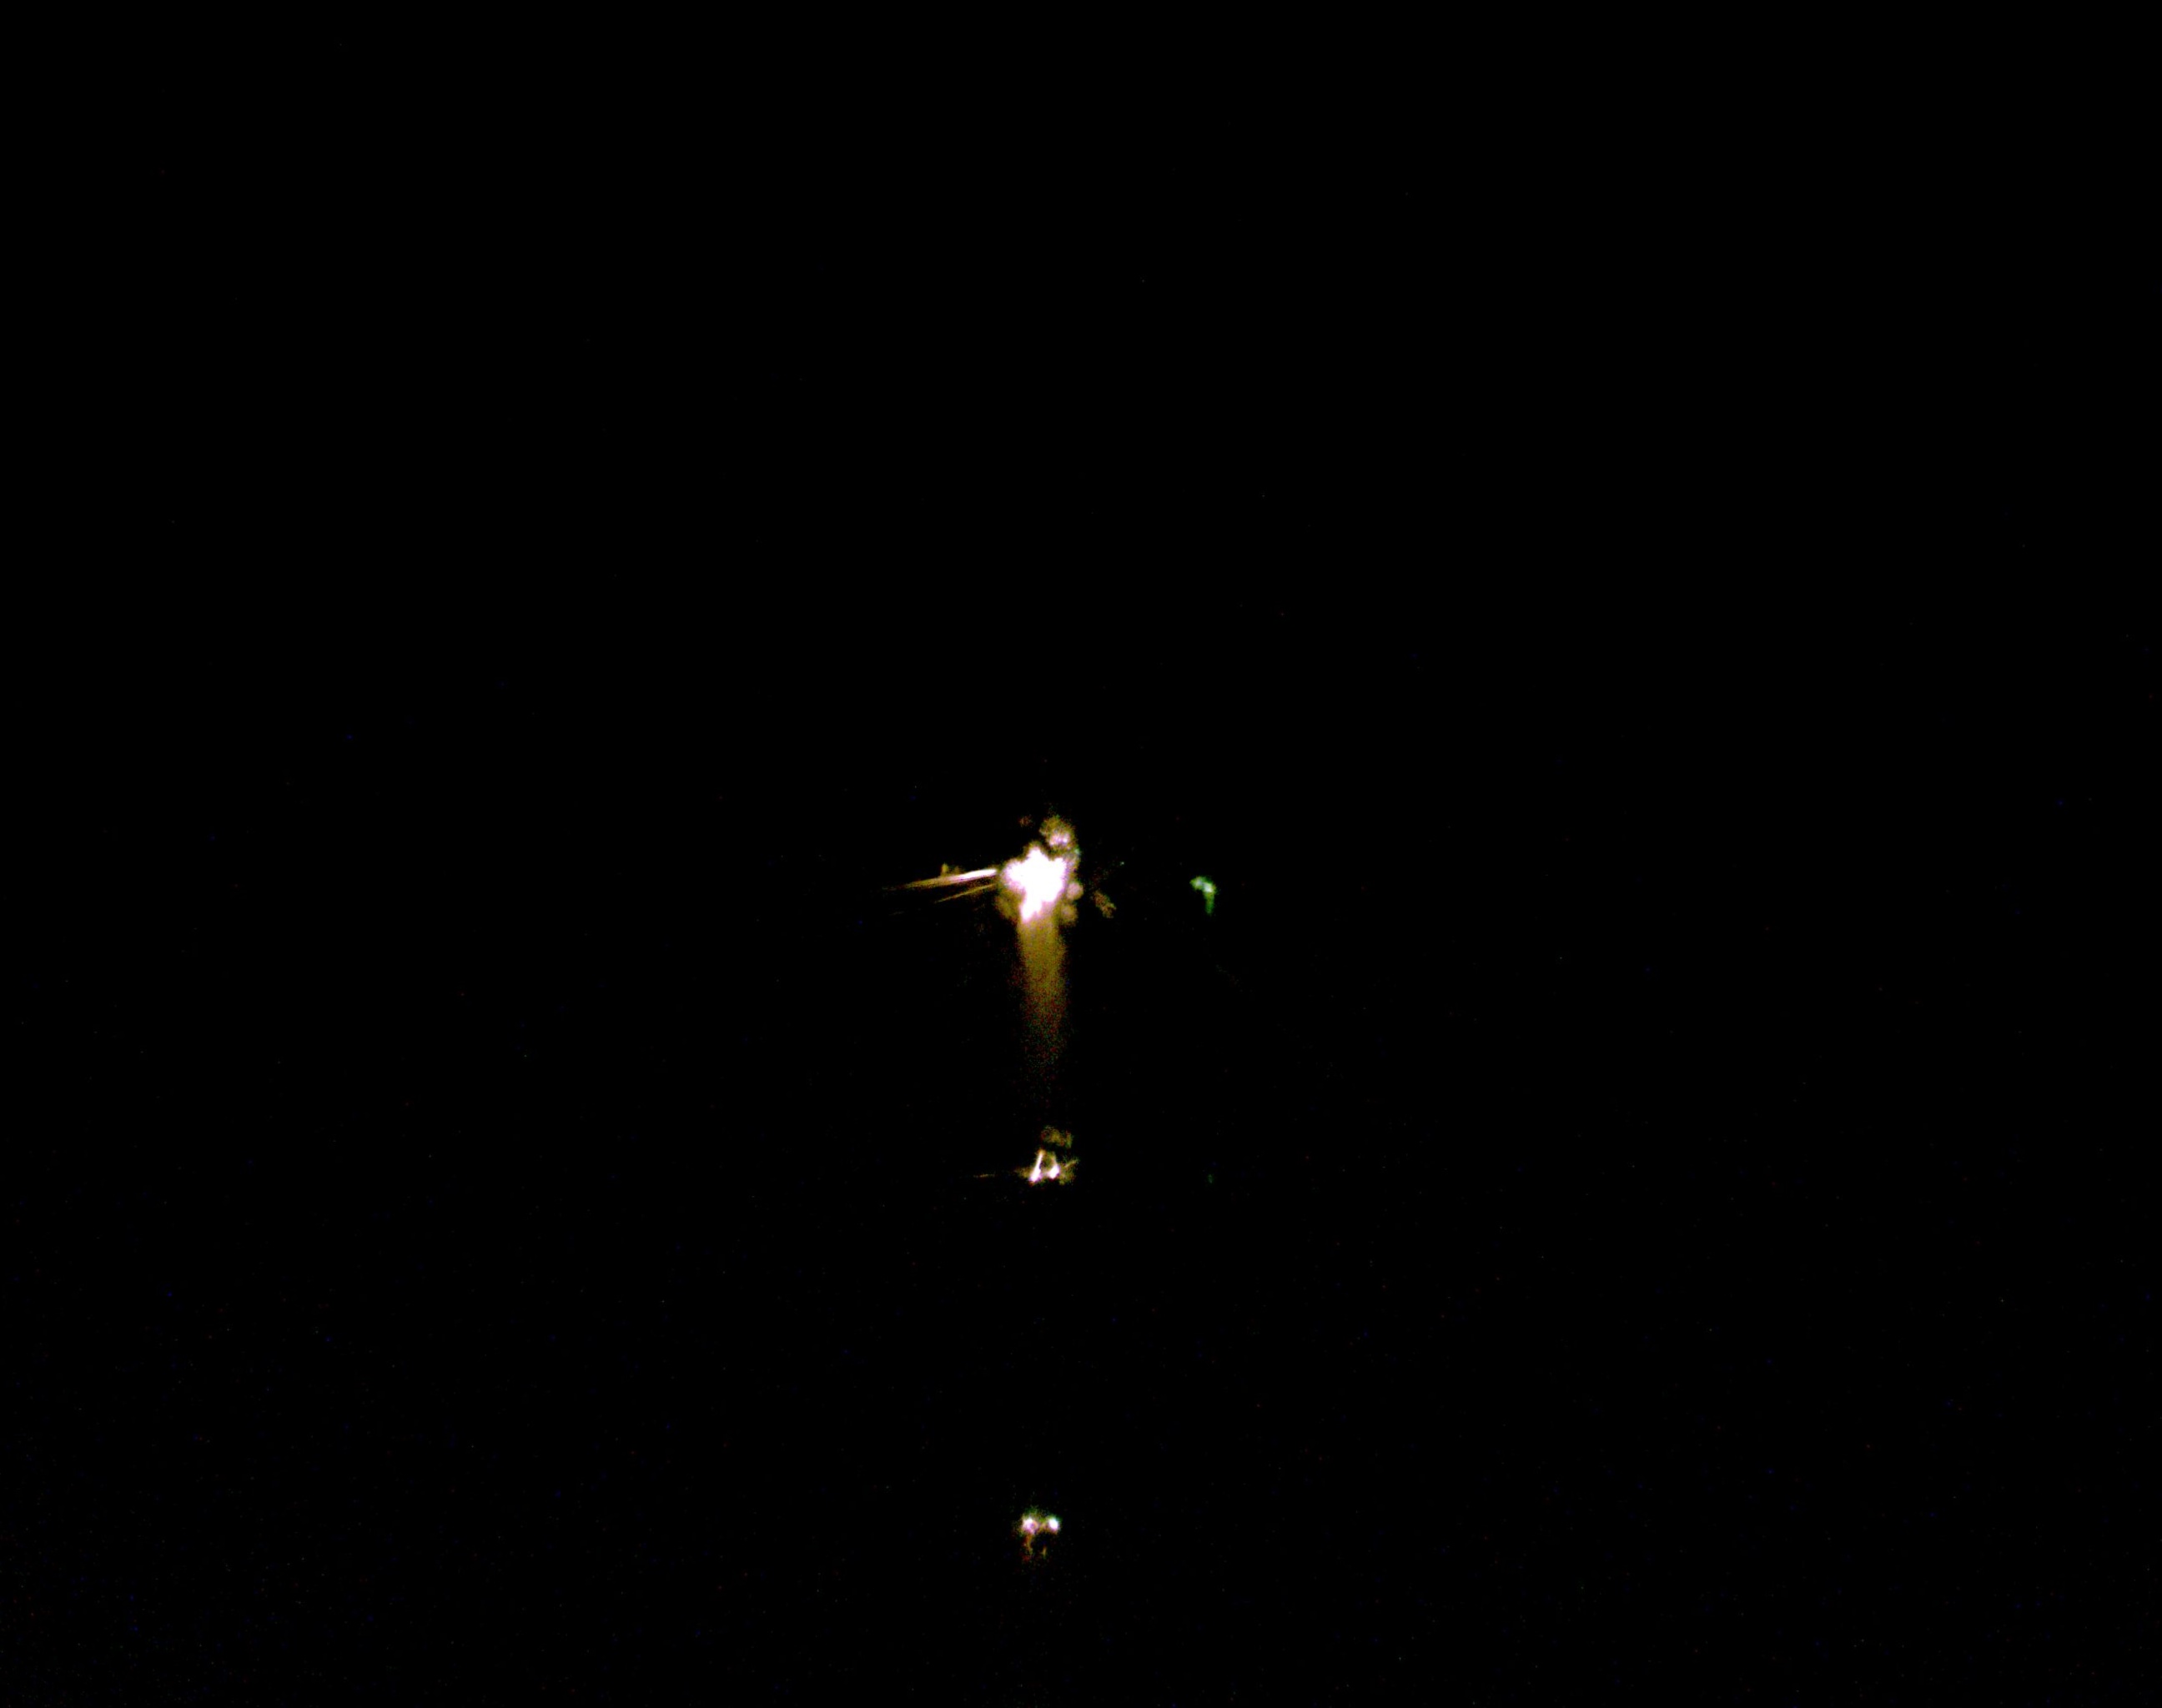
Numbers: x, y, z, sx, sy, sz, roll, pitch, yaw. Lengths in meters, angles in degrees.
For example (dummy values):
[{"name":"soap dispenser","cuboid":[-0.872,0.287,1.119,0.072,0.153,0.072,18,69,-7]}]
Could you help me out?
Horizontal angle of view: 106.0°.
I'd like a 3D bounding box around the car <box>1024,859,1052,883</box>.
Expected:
[{"name":"car","cuboid":[-3.129,1.211,60.093,1.915,1.646,4.023,-1,0,-1]}]
